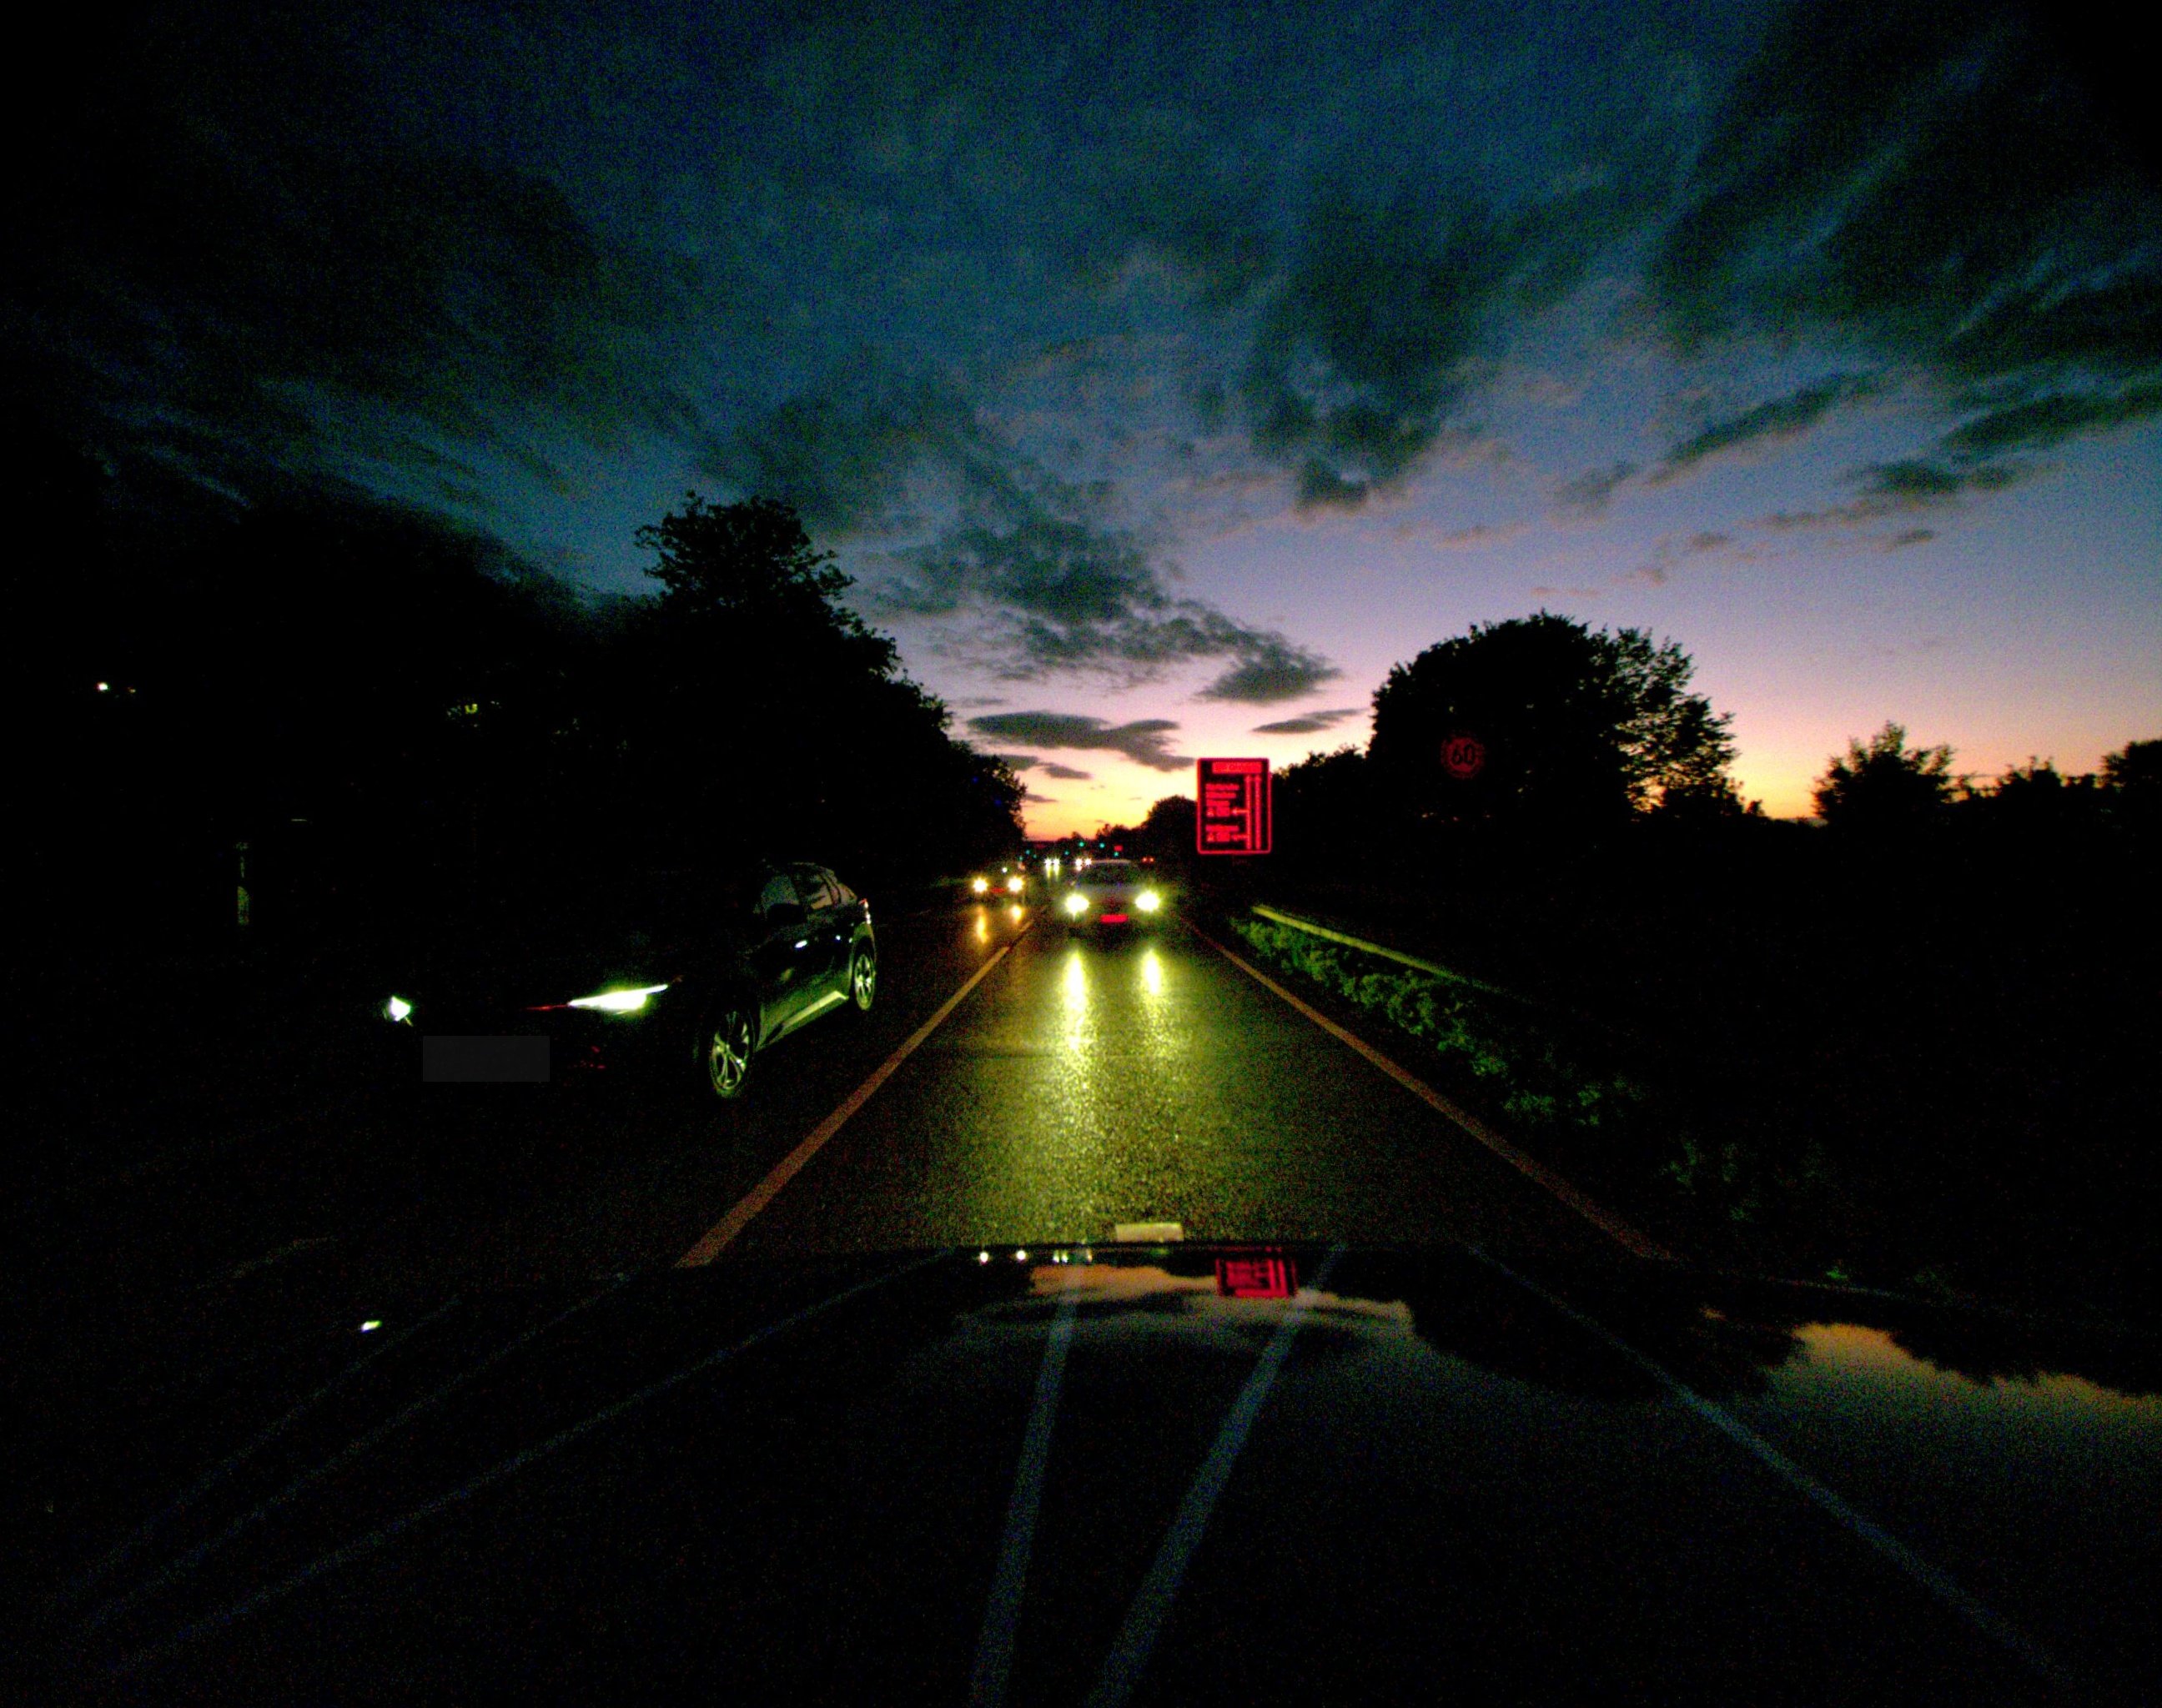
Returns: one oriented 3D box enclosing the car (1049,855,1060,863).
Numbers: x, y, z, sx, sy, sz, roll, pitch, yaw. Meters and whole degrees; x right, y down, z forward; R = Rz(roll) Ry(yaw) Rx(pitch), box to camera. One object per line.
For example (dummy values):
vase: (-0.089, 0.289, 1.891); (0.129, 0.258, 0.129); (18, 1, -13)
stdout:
car: (-5.001, 0.862, 143.468); (1.999, 1.423, 4.501); (0, 0, -1)

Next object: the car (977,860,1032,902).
car: (-2.901, 0.992, 29.428); (1.624, 1.460, 3.871); (-2, 0, 1)

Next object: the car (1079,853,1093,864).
car: (0.795, 0.734, 120.901); (1.999, 1.602, 4.501); (-1, 0, -1)

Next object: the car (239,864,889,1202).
car: (-3.220, 0.942, 6.213); (1.998, 1.600, 4.711); (-2, 0, 1)

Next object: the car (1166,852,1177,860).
car: (20.165, 0.514, 169.705); (1.797, 1.661, 4.507); (-1, 0, 15)

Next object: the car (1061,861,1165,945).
car: (0.589, 0.937, 16.430); (1.901, 1.472, 4.514); (-2, 0, 0)
